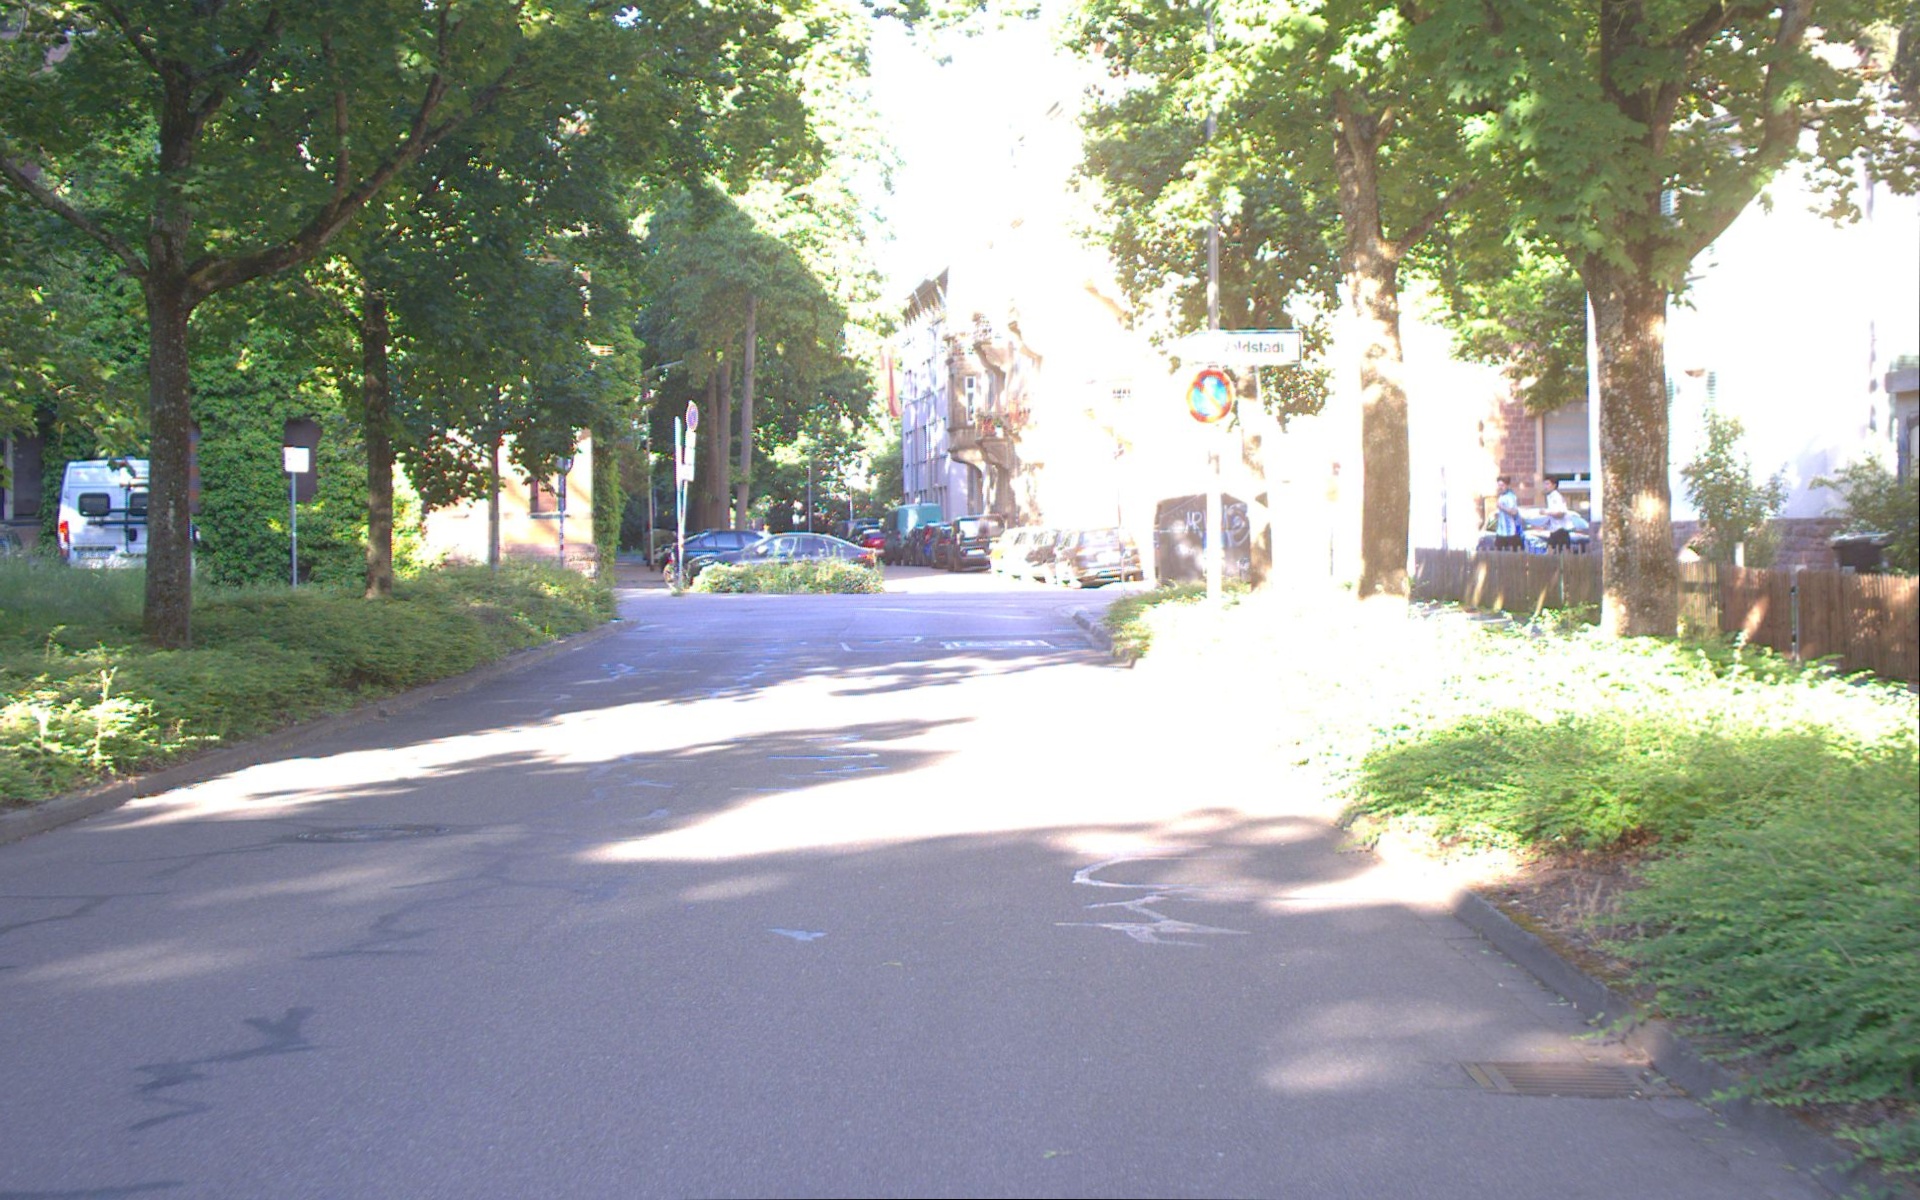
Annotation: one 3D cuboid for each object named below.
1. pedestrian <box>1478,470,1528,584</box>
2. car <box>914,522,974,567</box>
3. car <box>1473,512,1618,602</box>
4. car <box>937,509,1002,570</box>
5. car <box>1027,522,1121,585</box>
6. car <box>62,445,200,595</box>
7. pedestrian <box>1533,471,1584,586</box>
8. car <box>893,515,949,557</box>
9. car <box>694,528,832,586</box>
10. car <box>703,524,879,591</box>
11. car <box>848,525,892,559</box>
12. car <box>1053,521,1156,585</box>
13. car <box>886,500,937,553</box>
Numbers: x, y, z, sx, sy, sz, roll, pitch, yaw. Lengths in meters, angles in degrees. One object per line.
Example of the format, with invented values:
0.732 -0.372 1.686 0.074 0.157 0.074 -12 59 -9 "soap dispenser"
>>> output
8.945 -1.202 56.689 0.615 1.864 0.695 1 1 -7 "pedestrian"
-0.575 -1.951 119.966 1.811 1.496 4.001 1 1 -4 "car"
10.723 -0.800 63.187 1.993 1.579 3.640 0 1 -1 "car"
0.286 -1.991 111.699 1.811 1.919 4.001 1 1 -4 "car"
2.935 -1.214 89.384 1.993 1.568 4.001 1 1 -5 "car"
-14.378 -1.380 59.767 1.993 2.499 4.001 0 1 -9 "car"
9.747 -1.166 56.013 0.615 1.864 0.695 1 1 -7 "pedestrian"
-1.453 -2.373 126.705 1.811 1.496 4.001 1 1 -4 "car"
-5.311 -1.167 92.465 3.586 1.505 1.500 1 1 -8 "car"
-4.010 -1.013 81.108 3.986 1.496 1.818 1 1 -8 "car"
-4.036 -2.607 153.693 1.811 1.496 4.001 1 1 -4 "car"
3.469 -1.158 83.151 1.811 1.496 4.001 -1 1 -7 "car"
-1.958 -2.918 136.633 1.811 2.043 4.001 1 1 -4 "car"
